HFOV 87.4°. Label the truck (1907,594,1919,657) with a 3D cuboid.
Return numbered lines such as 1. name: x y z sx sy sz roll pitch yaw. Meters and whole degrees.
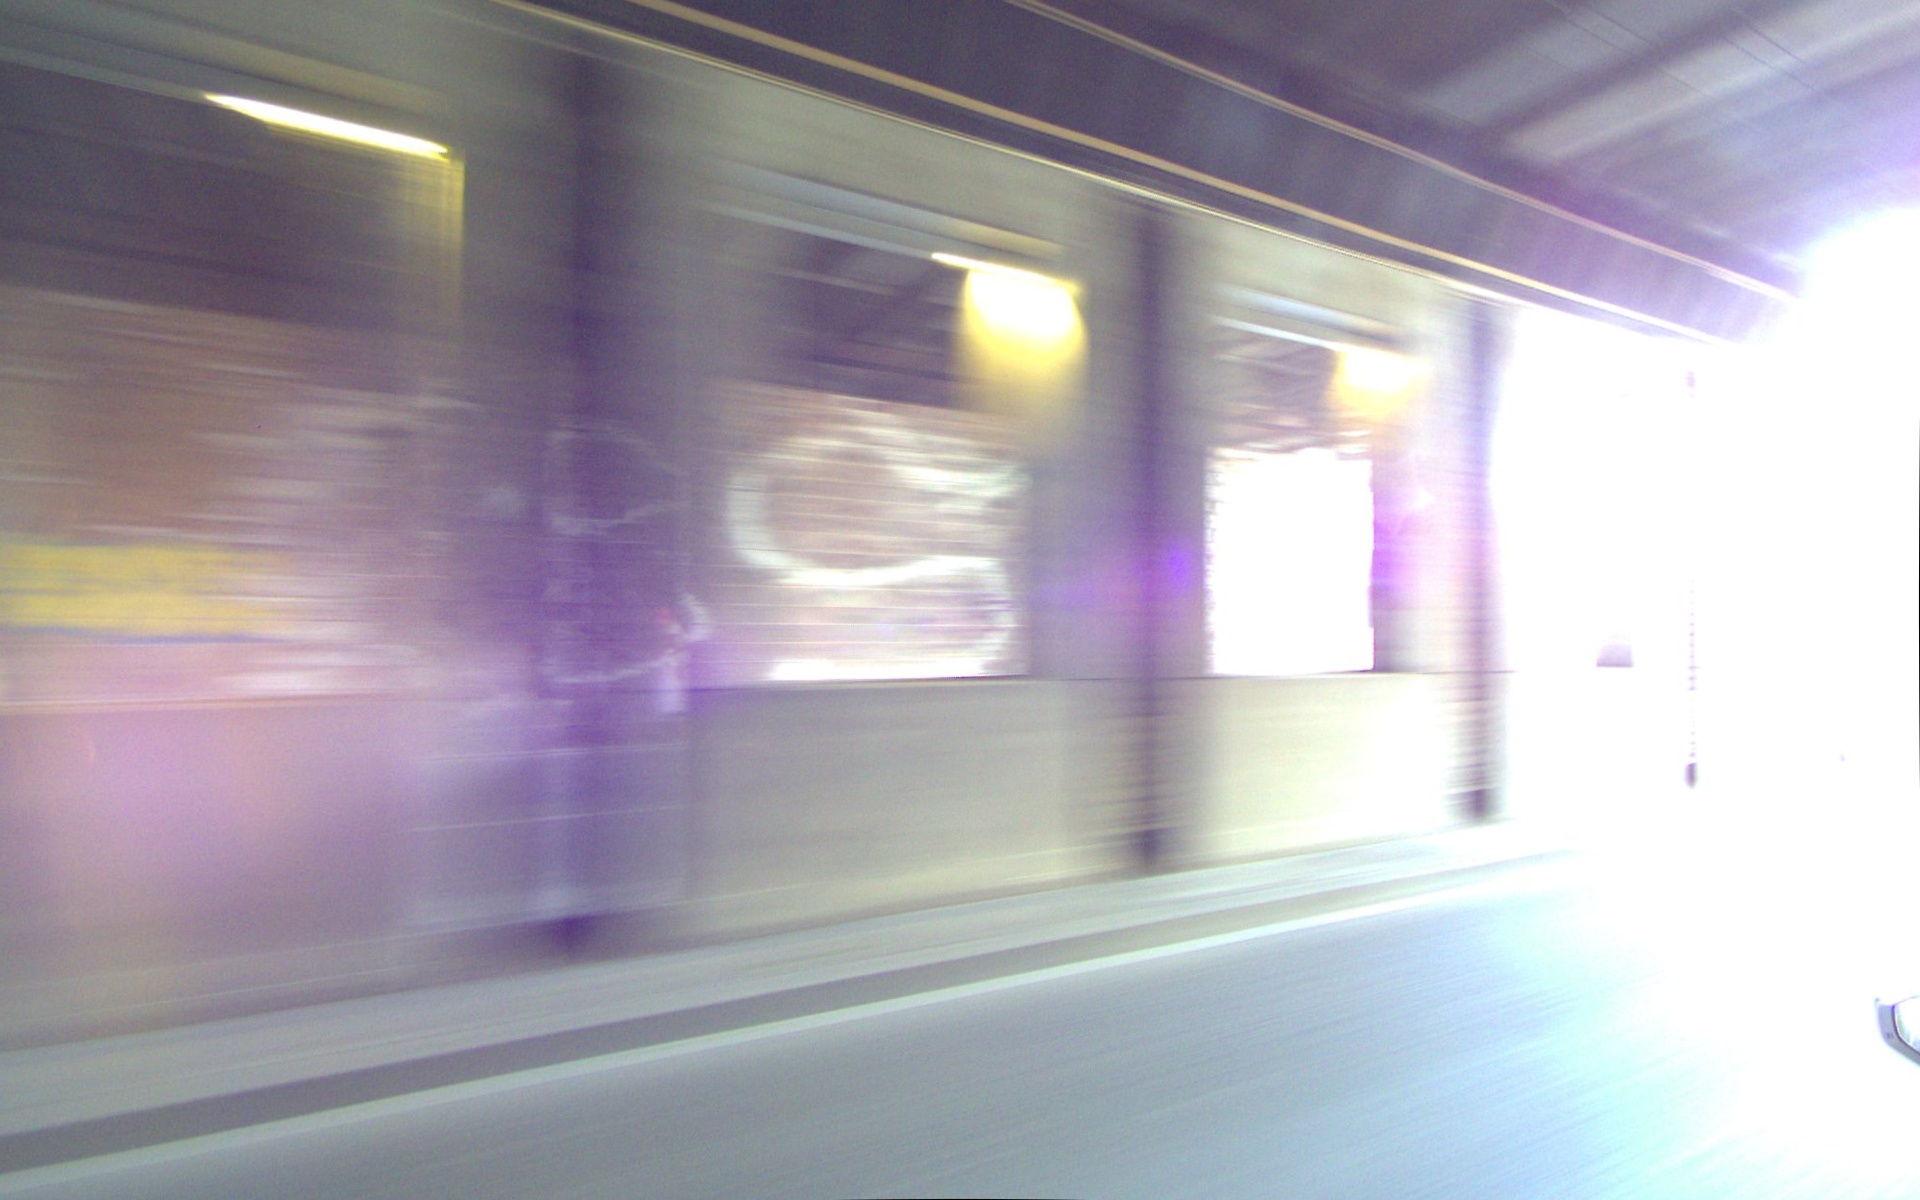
1. truck: 61.504 1.519 59.111 2.658 3.934 9.336 2 -2 0
